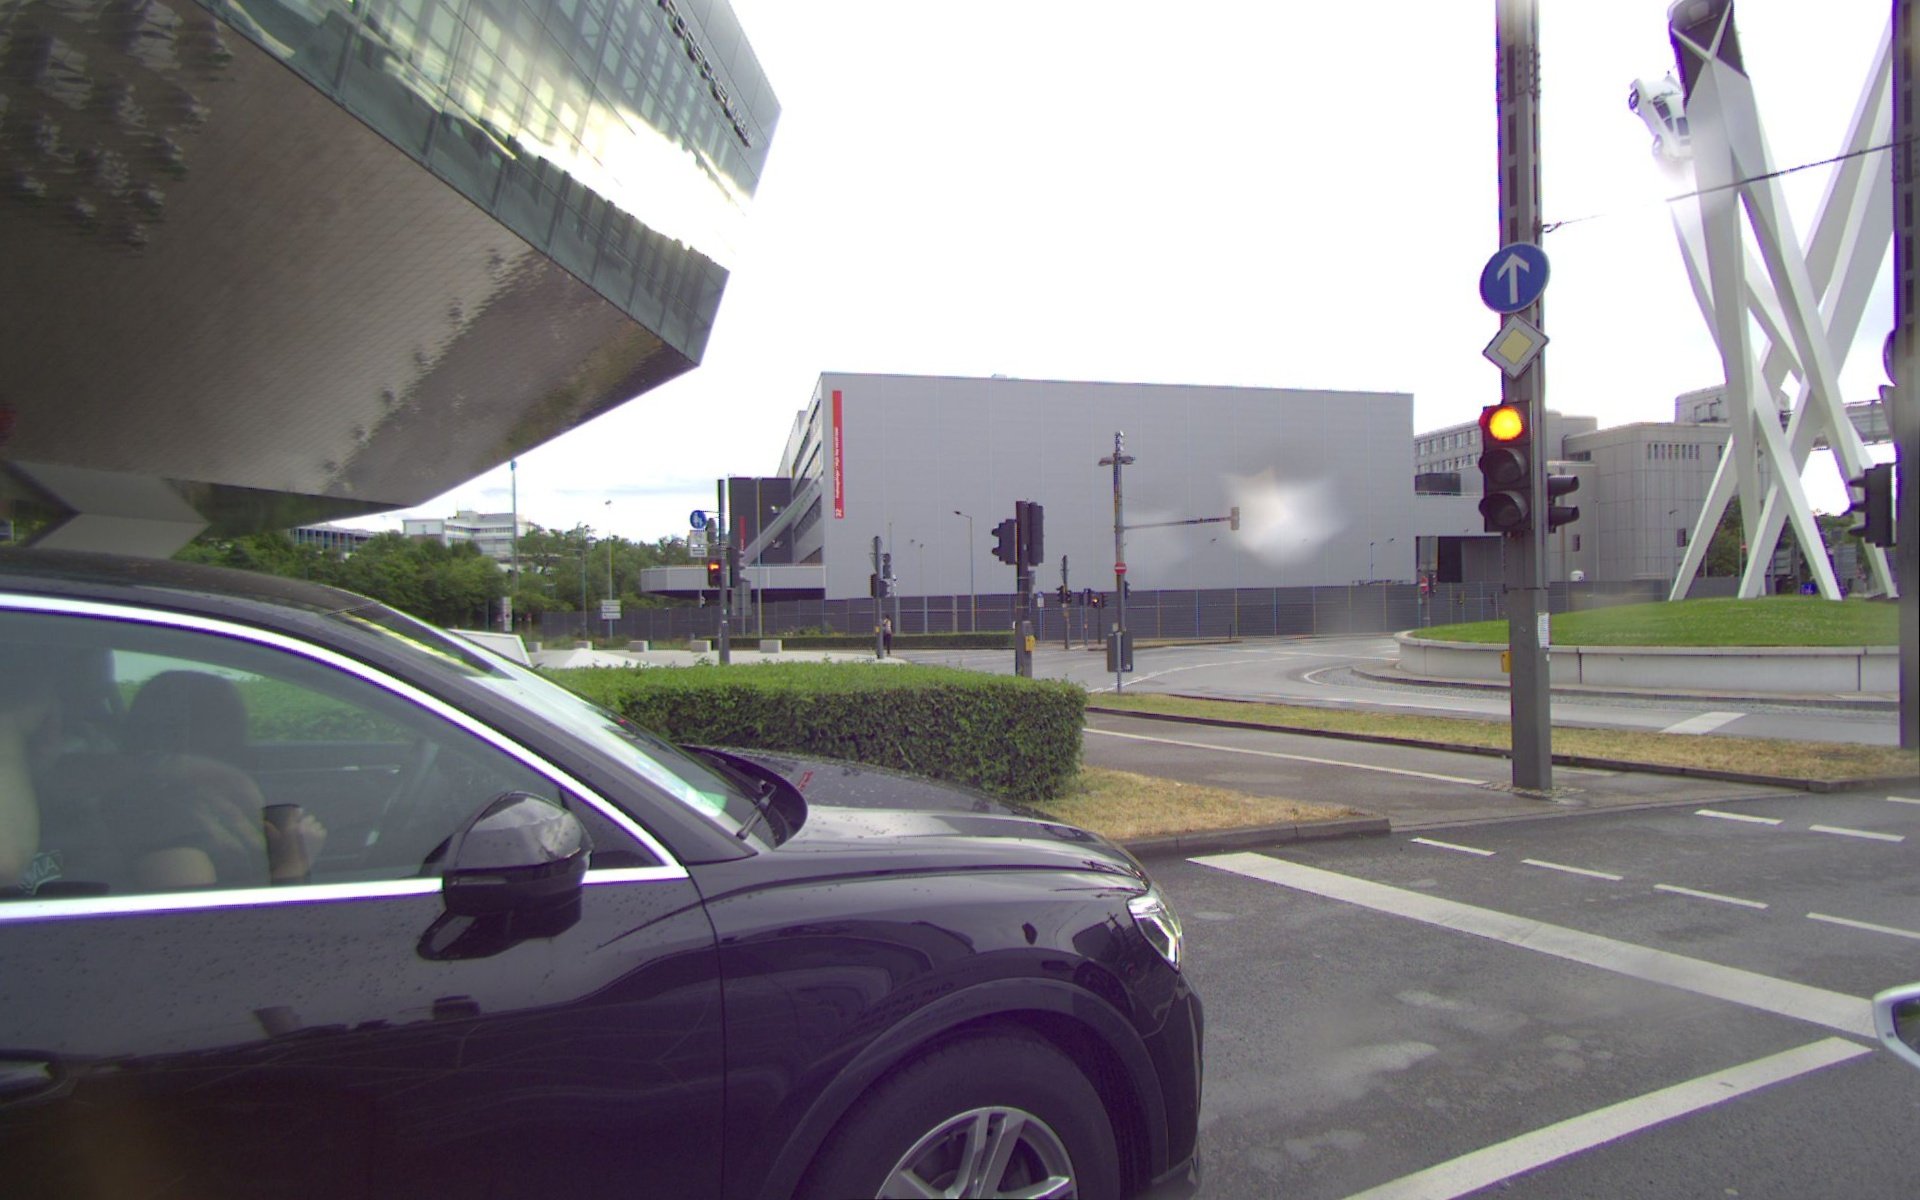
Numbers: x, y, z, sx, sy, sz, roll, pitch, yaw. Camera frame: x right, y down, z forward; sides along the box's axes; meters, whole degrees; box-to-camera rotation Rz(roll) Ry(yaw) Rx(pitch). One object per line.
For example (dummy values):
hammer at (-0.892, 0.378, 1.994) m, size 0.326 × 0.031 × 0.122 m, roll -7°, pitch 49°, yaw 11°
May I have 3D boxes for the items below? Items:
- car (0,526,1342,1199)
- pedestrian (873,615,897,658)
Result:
car at (-1.487, 0.685, 1.804) m, size 4.344 × 1.538 × 1.743 m, roll 2°, pitch 0°, yaw -31°
pedestrian at (-3.248, 1.571, 43.346) m, size 0.638 × 1.827 × 0.851 m, roll 0°, pitch 0°, yaw 35°
